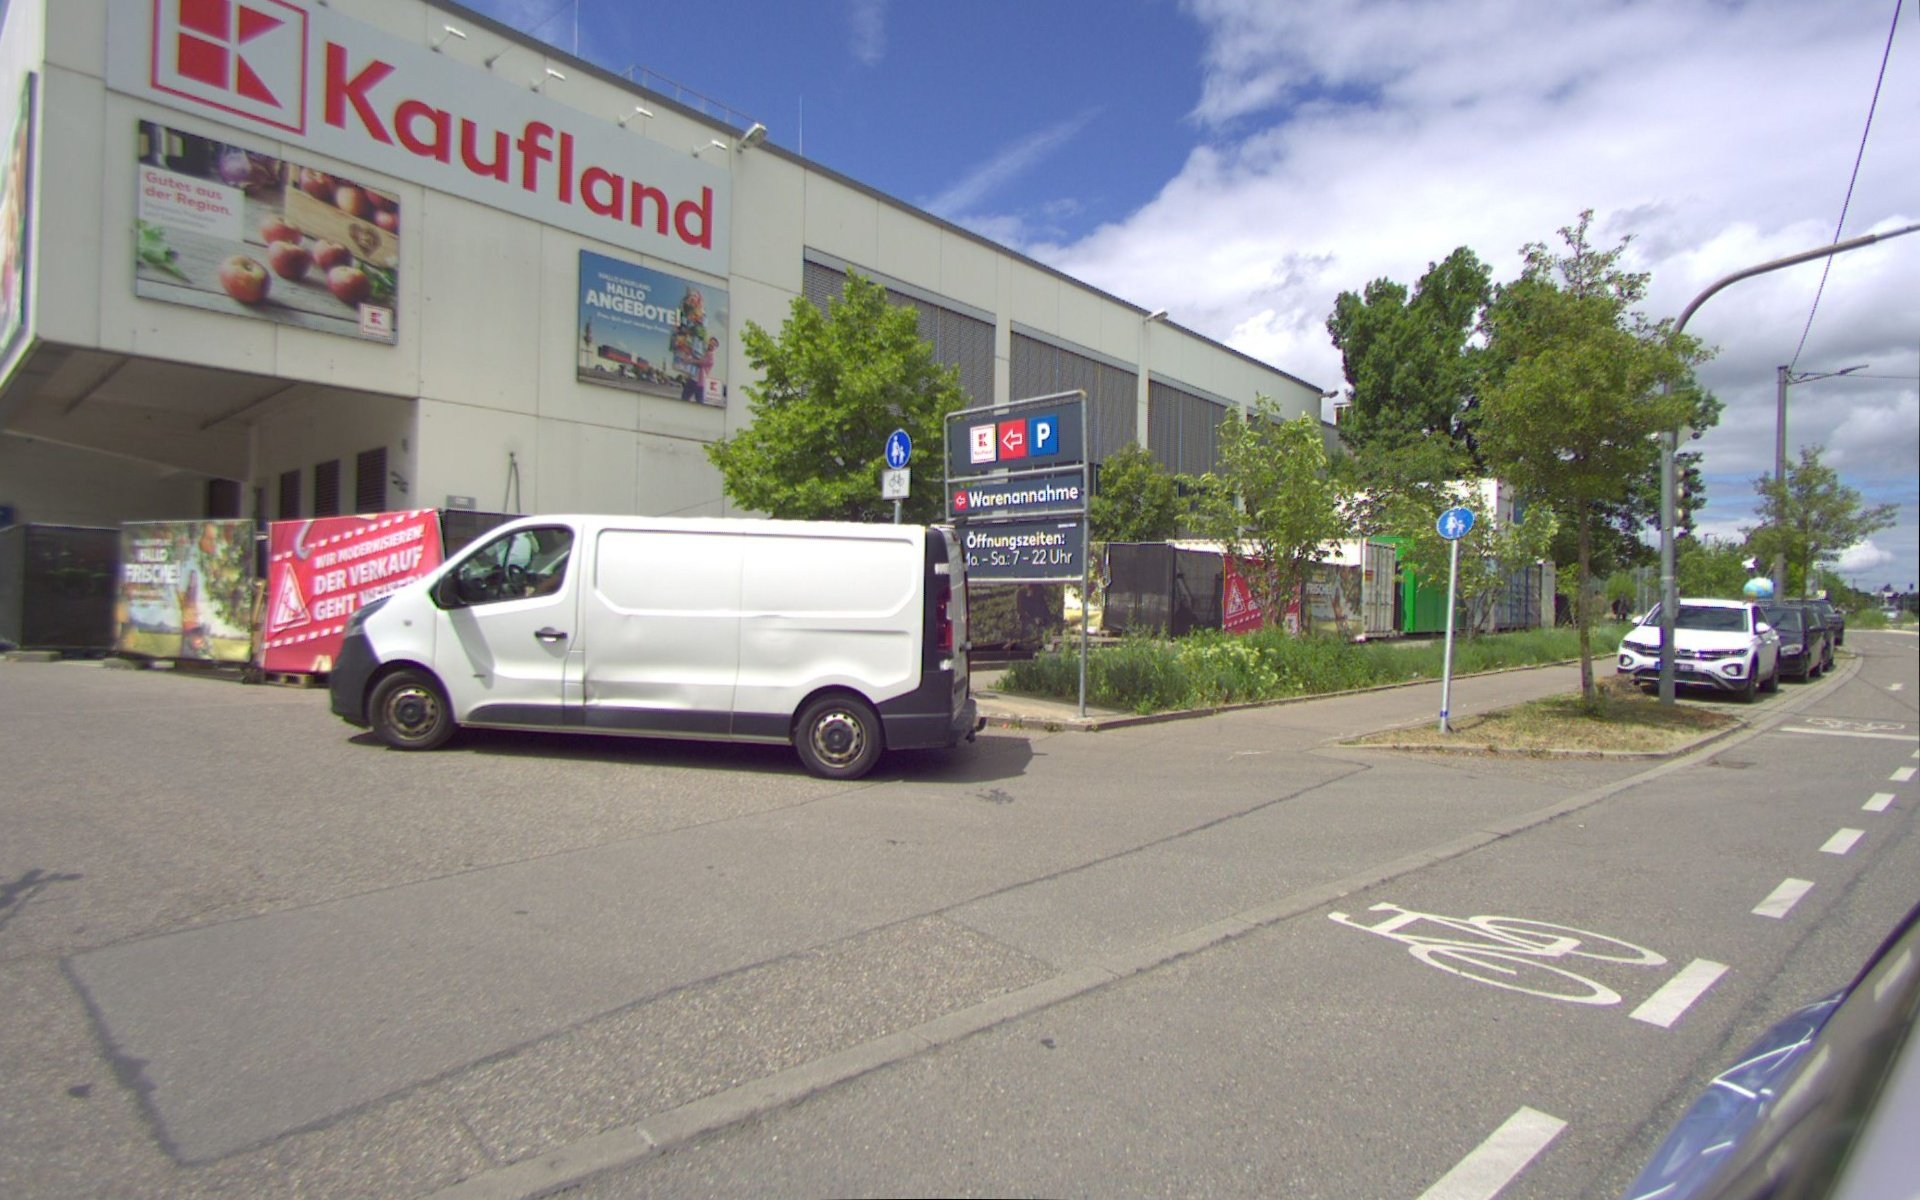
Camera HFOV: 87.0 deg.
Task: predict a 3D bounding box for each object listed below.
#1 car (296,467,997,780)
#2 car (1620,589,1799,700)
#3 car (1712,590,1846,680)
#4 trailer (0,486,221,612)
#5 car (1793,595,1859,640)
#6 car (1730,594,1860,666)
[{"bbox_3d":[-2.404,0.098,8.552,5.258,2.048,1.998,3,2,5],"label":"car"},{"bbox_3d":[12.523,0.631,16.823,3.857,1.549,1.792,0,3,-45],"label":"car"},{"bbox_3d":[16.642,0.629,20.513,3.728,1.580,1.600,0,3,-44],"label":"car"},{"bbox_3d":[-30.024,-1.581,33.267,2.590,3.911,8.939,-1,-1,39],"label":"trailer"},{"bbox_3d":[31.815,0.616,37.271,1.698,1.551,3.943,-1,-1,39],"label":"car"},{"bbox_3d":[19.752,0.657,23.889,3.748,1.547,1.994,0,-1,-45],"label":"car"}]
